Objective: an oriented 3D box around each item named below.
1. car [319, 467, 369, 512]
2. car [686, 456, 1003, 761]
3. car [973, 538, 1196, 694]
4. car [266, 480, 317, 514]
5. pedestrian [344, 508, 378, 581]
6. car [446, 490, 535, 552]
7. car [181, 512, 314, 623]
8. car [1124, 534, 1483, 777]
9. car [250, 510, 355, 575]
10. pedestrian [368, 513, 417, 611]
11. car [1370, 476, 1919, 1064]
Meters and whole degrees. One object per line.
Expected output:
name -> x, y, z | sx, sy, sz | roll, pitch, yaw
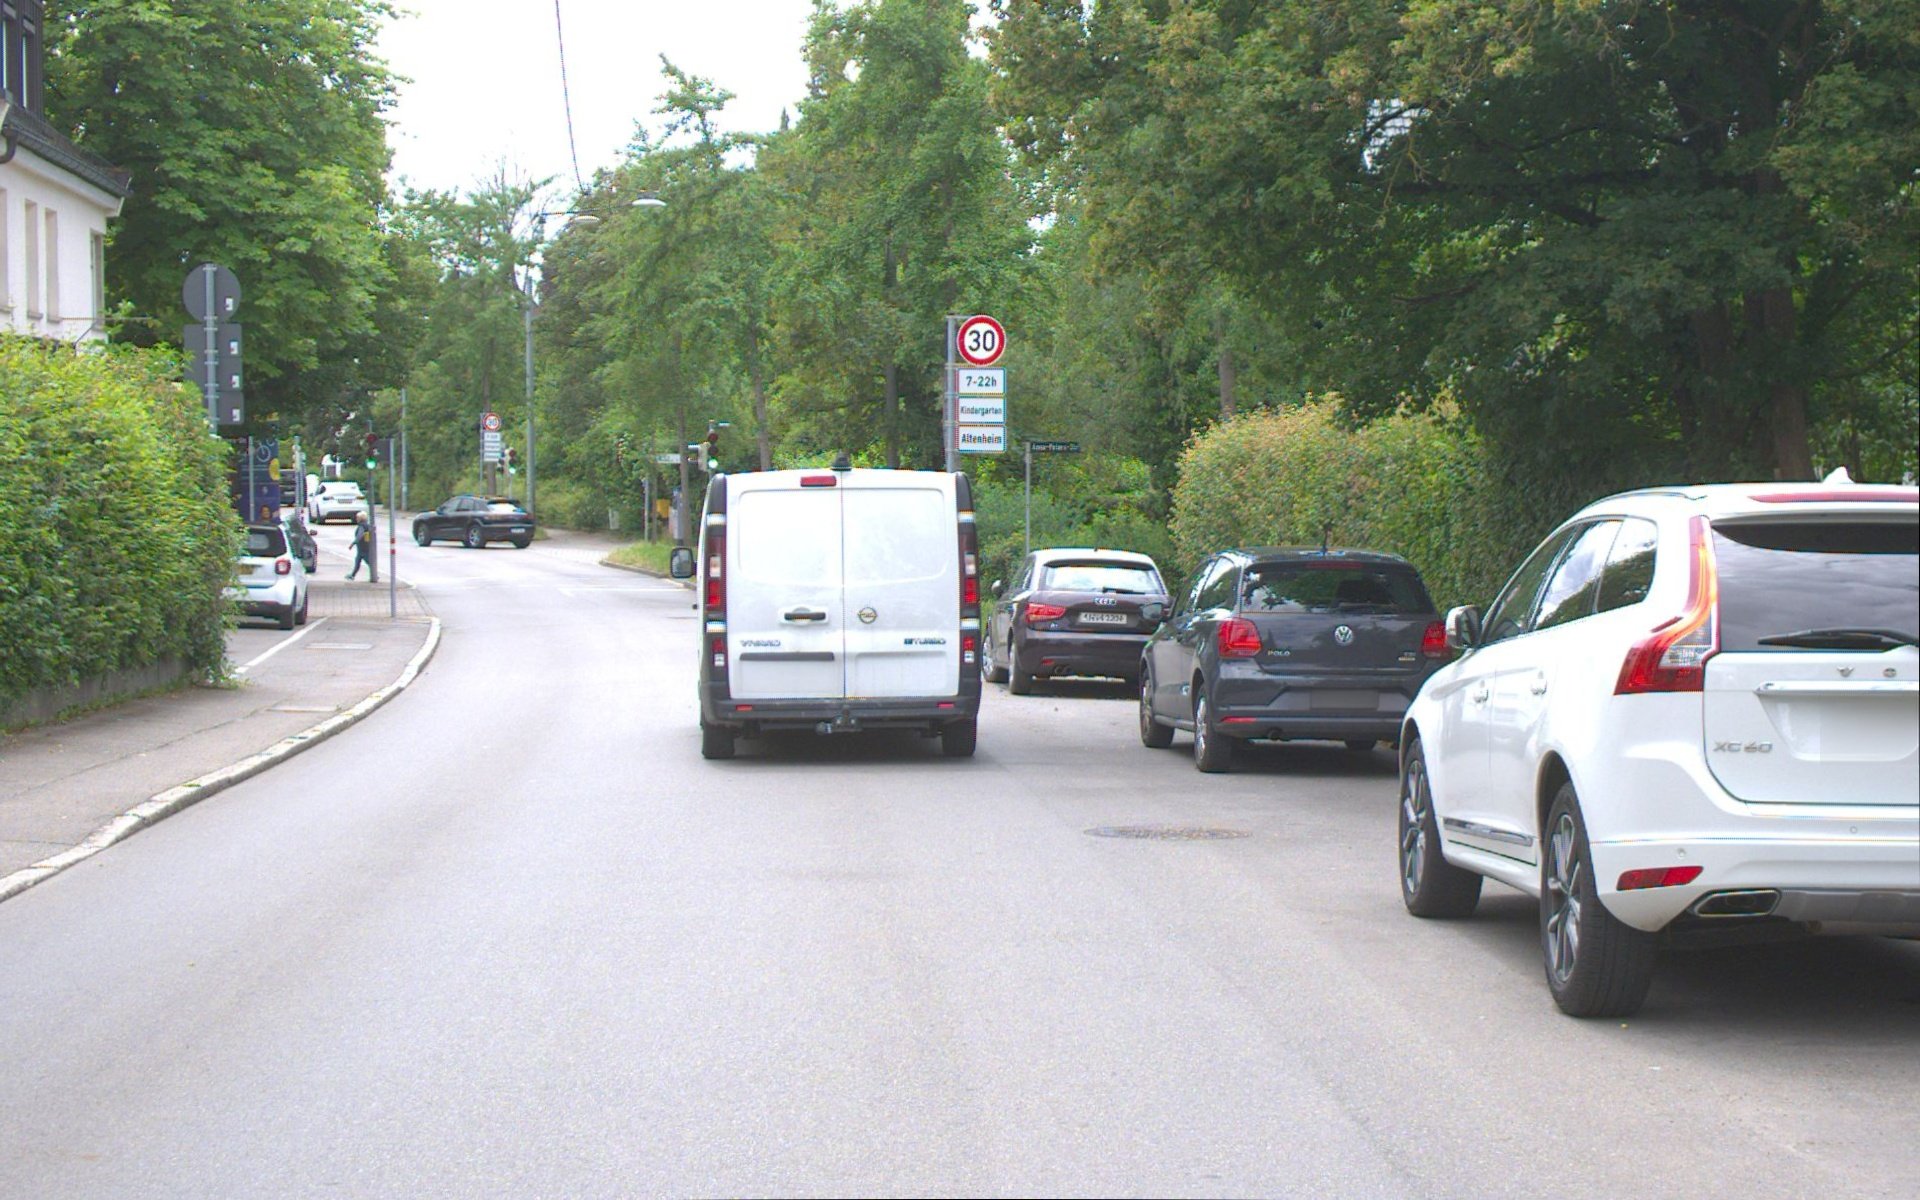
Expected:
car -> -23.961, -4.301, 133.818 | 1.824, 1.722, 4.001 | 0, 2, -9
car -> -0.917, -0.017, 24.391 | 1.929, 1.957, 4.403 | 0, 2, -6
car -> 1.179, 0.119, 34.283 | 1.709, 1.408, 3.791 | 2, 1, -5
car -> -33.026, -5.090, 169.834 | 1.893, 1.605, 4.502 | 0, 2, -19
pedestrian -> -13.401, -1.252, 76.894 | 0.697, 1.610, 0.715 | 0, 3, -6
car -> -14.518, -2.445, 106.125 | 1.896, 1.853, 4.406 | 0, 2, -19
car -> -10.560, -0.504, 51.098 | 1.588, 1.533, 2.924 | 2, 2, -6
car -> 2.215, 0.309, 23.118 | 1.709, 1.482, 3.791 | 0, 1, -5
car -> -15.307, -1.352, 80.209 | 1.779, 1.436, 4.526 | 2, 1, -3
pedestrian -> -9.329, -0.627, 56.521 | 0.706, 1.604, 0.576 | -1, 1, -1
car -> 2.704, 0.448, 12.028 | 1.865, 1.679, 4.351 | 0, 1, -2
